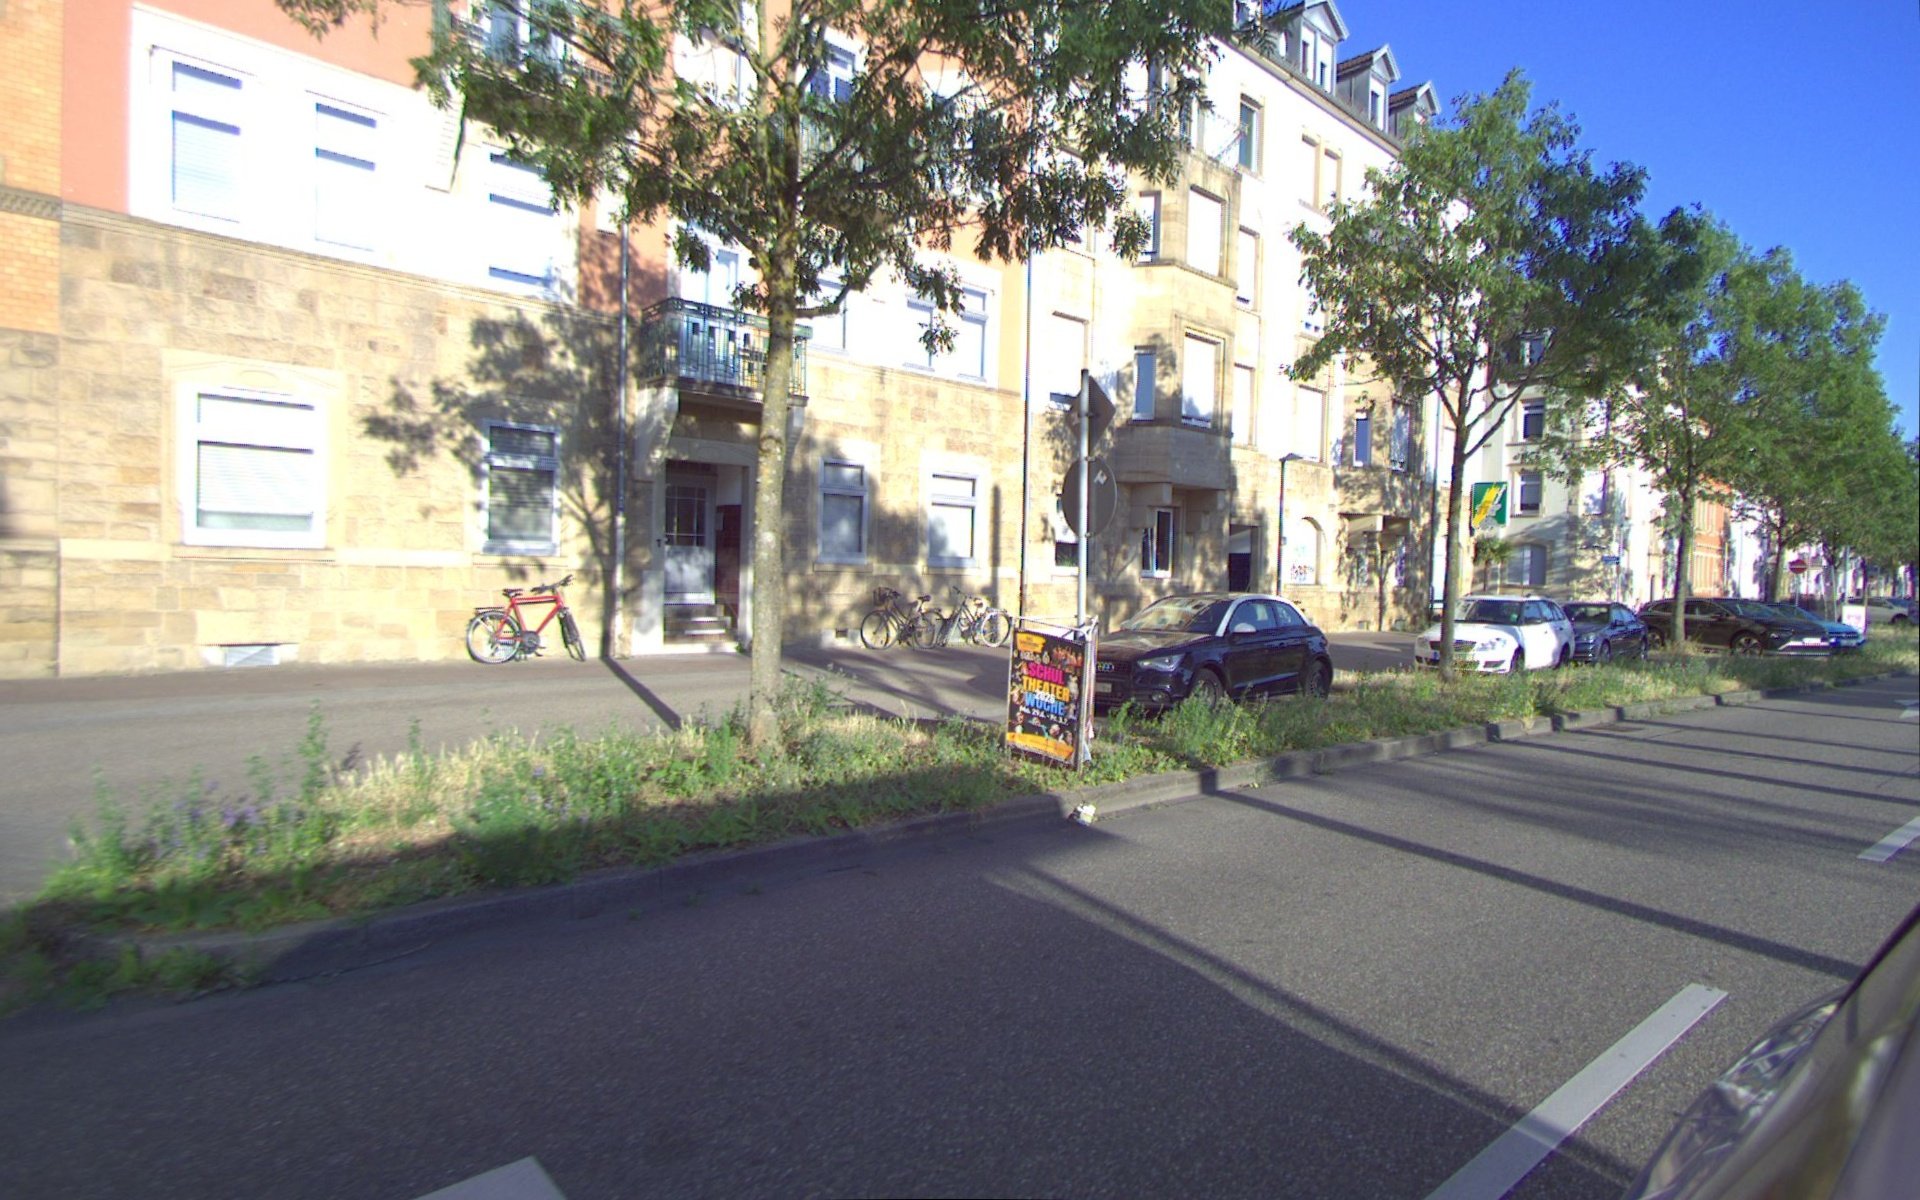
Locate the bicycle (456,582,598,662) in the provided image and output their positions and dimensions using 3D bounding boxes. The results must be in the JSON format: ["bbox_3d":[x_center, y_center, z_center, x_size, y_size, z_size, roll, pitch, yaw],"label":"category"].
[{"bbox_3d":[-5.908,0.283,13.865,1.716,1.018,0.484,0,2,-42],"label":"bicycle"}]

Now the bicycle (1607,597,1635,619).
[{"bbox_3d":[28.967,0.347,44.341,1.852,0.882,0.461,-2,8,-42],"label":"bicycle"}]

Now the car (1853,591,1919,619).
[{"bbox_3d":[51.497,0.275,54.682,1.989,1.417,4.565,0,2,-11],"label":"car"}]

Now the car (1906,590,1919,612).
[{"bbox_3d":[68.205,0.154,69.483,1.810,1.528,4.653,1,2,-6],"label":"car"}]

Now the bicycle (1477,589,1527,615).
[{"bbox_3d":[25.570,0.087,47.794,0.566,1.138,1.973,0,2,-45],"label":"bicycle"}]

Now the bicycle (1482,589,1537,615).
[{"bbox_3d":[26.126,0.079,48.126,0.530,1.119,2.206,0,2,-45],"label":"bicycle"}]

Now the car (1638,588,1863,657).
[{"bbox_3d":[20.016,0.516,25.897,1.960,1.591,4.348,1,0,-9],"label":"car"}]

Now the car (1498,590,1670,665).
[{"bbox_3d":[13.729,0.528,22.142,4.825,1.463,1.947,0,0,-42],"label":"car"}]

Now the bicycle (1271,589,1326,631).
[{"bbox_3d":[9.325,0.267,27.860,1.864,1.086,0.573,0,3,-42],"label":"bicycle"}]

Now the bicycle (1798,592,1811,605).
[{"bbox_3d":[67.517,-0.095,80.900,1.895,1.003,0.580,0,2,-43],"label":"bicycle"}]

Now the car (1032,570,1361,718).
[{"bbox_3d":[2.941,0.445,12.090,4.214,1.467,1.706,0,-1,-41],"label":"car"}]

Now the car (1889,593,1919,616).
[{"bbox_3d":[60.982,0.333,62.878,1.857,1.364,4.592,1,2,-9],"label":"car"}]

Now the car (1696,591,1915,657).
[{"bbox_3d":[22.273,0.570,26.908,1.809,1.541,4.295,1,1,-9],"label":"car"}]

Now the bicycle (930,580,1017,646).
[{"bbox_3d":[0.270,0.235,19.525,1.716,1.178,0.484,0,7,-42],"label":"bicycle"}]

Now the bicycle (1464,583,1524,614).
[{"bbox_3d":[24.876,-0.074,47.156,0.719,1.336,2.351,0,2,-45],"label":"bicycle"}]

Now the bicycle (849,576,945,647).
[{"bbox_3d":[-1.120,0.192,18.273,1.716,1.178,0.484,0,7,-42],"label":"bicycle"}]

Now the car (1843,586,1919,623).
[{"bbox_3d":[47.197,0.218,50.610,1.877,1.712,4.439,1,1,-7],"label":"car"}]

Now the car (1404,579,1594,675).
[{"bbox_3d":[9.837,0.441,18.333,4.199,1.531,1.727,0,-1,-42],"label":"car"}]
